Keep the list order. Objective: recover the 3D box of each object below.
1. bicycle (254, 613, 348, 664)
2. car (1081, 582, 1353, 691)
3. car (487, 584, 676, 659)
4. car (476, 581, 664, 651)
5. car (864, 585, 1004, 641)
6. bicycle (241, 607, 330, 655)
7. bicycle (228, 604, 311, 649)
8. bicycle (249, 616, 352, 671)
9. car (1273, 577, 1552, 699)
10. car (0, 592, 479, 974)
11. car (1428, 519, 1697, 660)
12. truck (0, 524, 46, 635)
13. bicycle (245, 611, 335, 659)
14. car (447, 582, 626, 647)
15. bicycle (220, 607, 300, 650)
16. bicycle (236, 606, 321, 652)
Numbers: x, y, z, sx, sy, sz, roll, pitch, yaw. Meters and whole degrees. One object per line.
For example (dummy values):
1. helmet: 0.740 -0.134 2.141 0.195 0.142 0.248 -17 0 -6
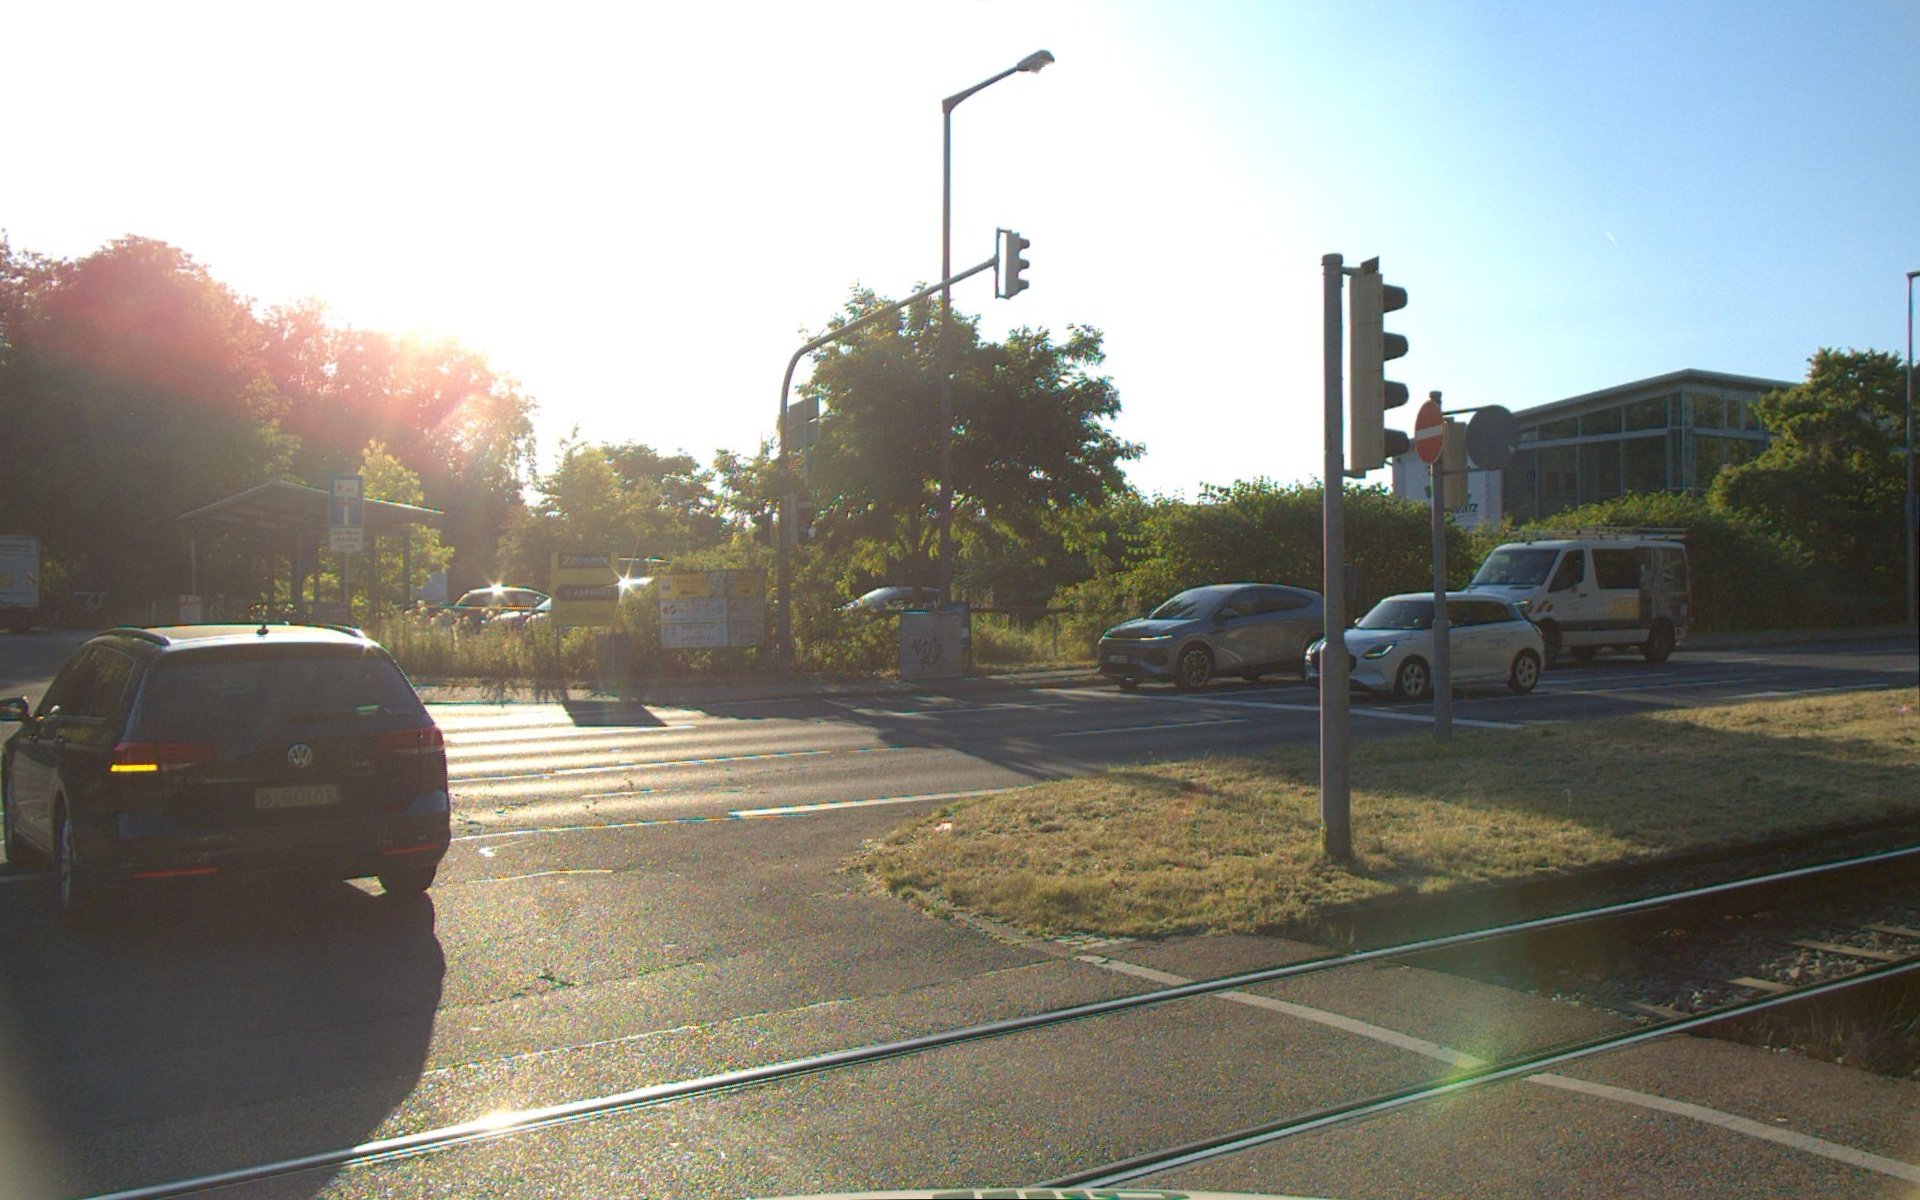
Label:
1. bicycle: -14.480 0.837 36.363 1.870 1.056 0.538 -1 1 -33
2. car: 4.343 0.546 27.691 4.493 1.646 1.854 -1 1 -34
3. car: -9.073 0.479 39.710 3.953 1.677 2.095 -1 1 -35
4. car: -10.010 0.363 42.489 4.270 1.677 2.095 -1 1 -35
5. car: -0.820 0.374 51.911 3.935 1.665 2.104 0 1 -24
6. bicycle: -15.927 0.726 39.062 1.870 1.056 0.538 -1 1 -33
7. bicycle: -17.350 0.659 41.566 1.867 1.056 0.539 -1 1 -29
8. bicycle: -13.375 0.872 33.568 1.870 1.056 0.538 -1 1 -33
9. car: 6.719 0.491 24.488 3.950 1.646 1.855 -1 1 -33
10. car: -4.277 0.767 9.307 1.809 1.583 4.207 -1 1 -34
11. car: 12.062 -0.242 32.919 5.803 2.610 1.987 -1 1 -33
12. truck: -37.012 -0.804 63.523 3.151 3.943 10.988 0 1 -30
13. bicycle: -15.575 0.799 38.484 1.870 1.056 0.538 -1 1 -33
14. car: -11.466 0.352 44.851 4.270 1.677 2.095 -1 1 -35
15. bicycle: -18.115 0.718 42.804 1.867 1.056 0.539 -1 1 -29
16. bicycle: -16.672 0.701 40.485 1.867 1.056 0.539 -1 1 -29
